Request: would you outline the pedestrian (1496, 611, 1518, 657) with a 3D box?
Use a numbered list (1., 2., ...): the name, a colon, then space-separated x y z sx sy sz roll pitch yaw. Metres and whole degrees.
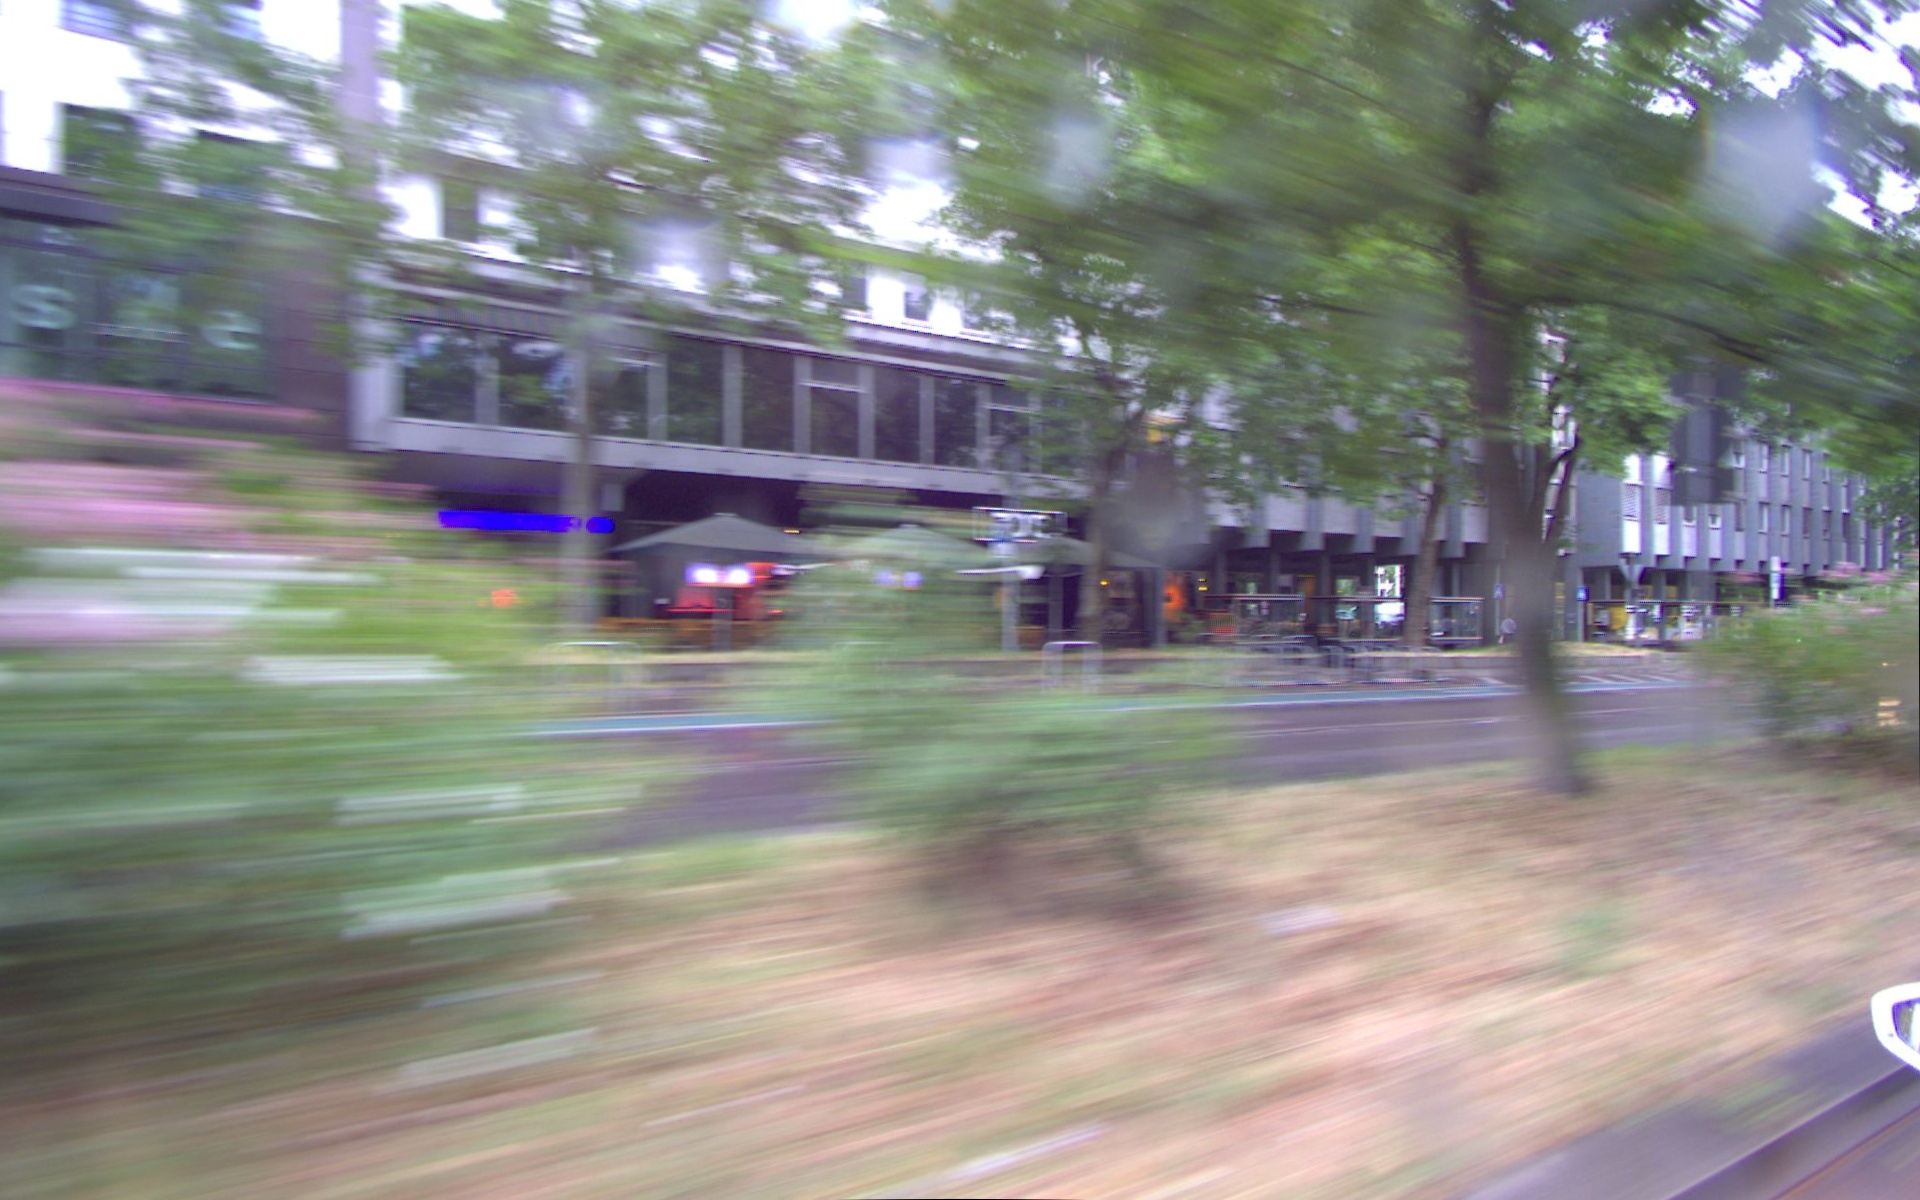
1. pedestrian: 22.044 1.382 40.482 0.516 1.831 0.545 1 0 -30
